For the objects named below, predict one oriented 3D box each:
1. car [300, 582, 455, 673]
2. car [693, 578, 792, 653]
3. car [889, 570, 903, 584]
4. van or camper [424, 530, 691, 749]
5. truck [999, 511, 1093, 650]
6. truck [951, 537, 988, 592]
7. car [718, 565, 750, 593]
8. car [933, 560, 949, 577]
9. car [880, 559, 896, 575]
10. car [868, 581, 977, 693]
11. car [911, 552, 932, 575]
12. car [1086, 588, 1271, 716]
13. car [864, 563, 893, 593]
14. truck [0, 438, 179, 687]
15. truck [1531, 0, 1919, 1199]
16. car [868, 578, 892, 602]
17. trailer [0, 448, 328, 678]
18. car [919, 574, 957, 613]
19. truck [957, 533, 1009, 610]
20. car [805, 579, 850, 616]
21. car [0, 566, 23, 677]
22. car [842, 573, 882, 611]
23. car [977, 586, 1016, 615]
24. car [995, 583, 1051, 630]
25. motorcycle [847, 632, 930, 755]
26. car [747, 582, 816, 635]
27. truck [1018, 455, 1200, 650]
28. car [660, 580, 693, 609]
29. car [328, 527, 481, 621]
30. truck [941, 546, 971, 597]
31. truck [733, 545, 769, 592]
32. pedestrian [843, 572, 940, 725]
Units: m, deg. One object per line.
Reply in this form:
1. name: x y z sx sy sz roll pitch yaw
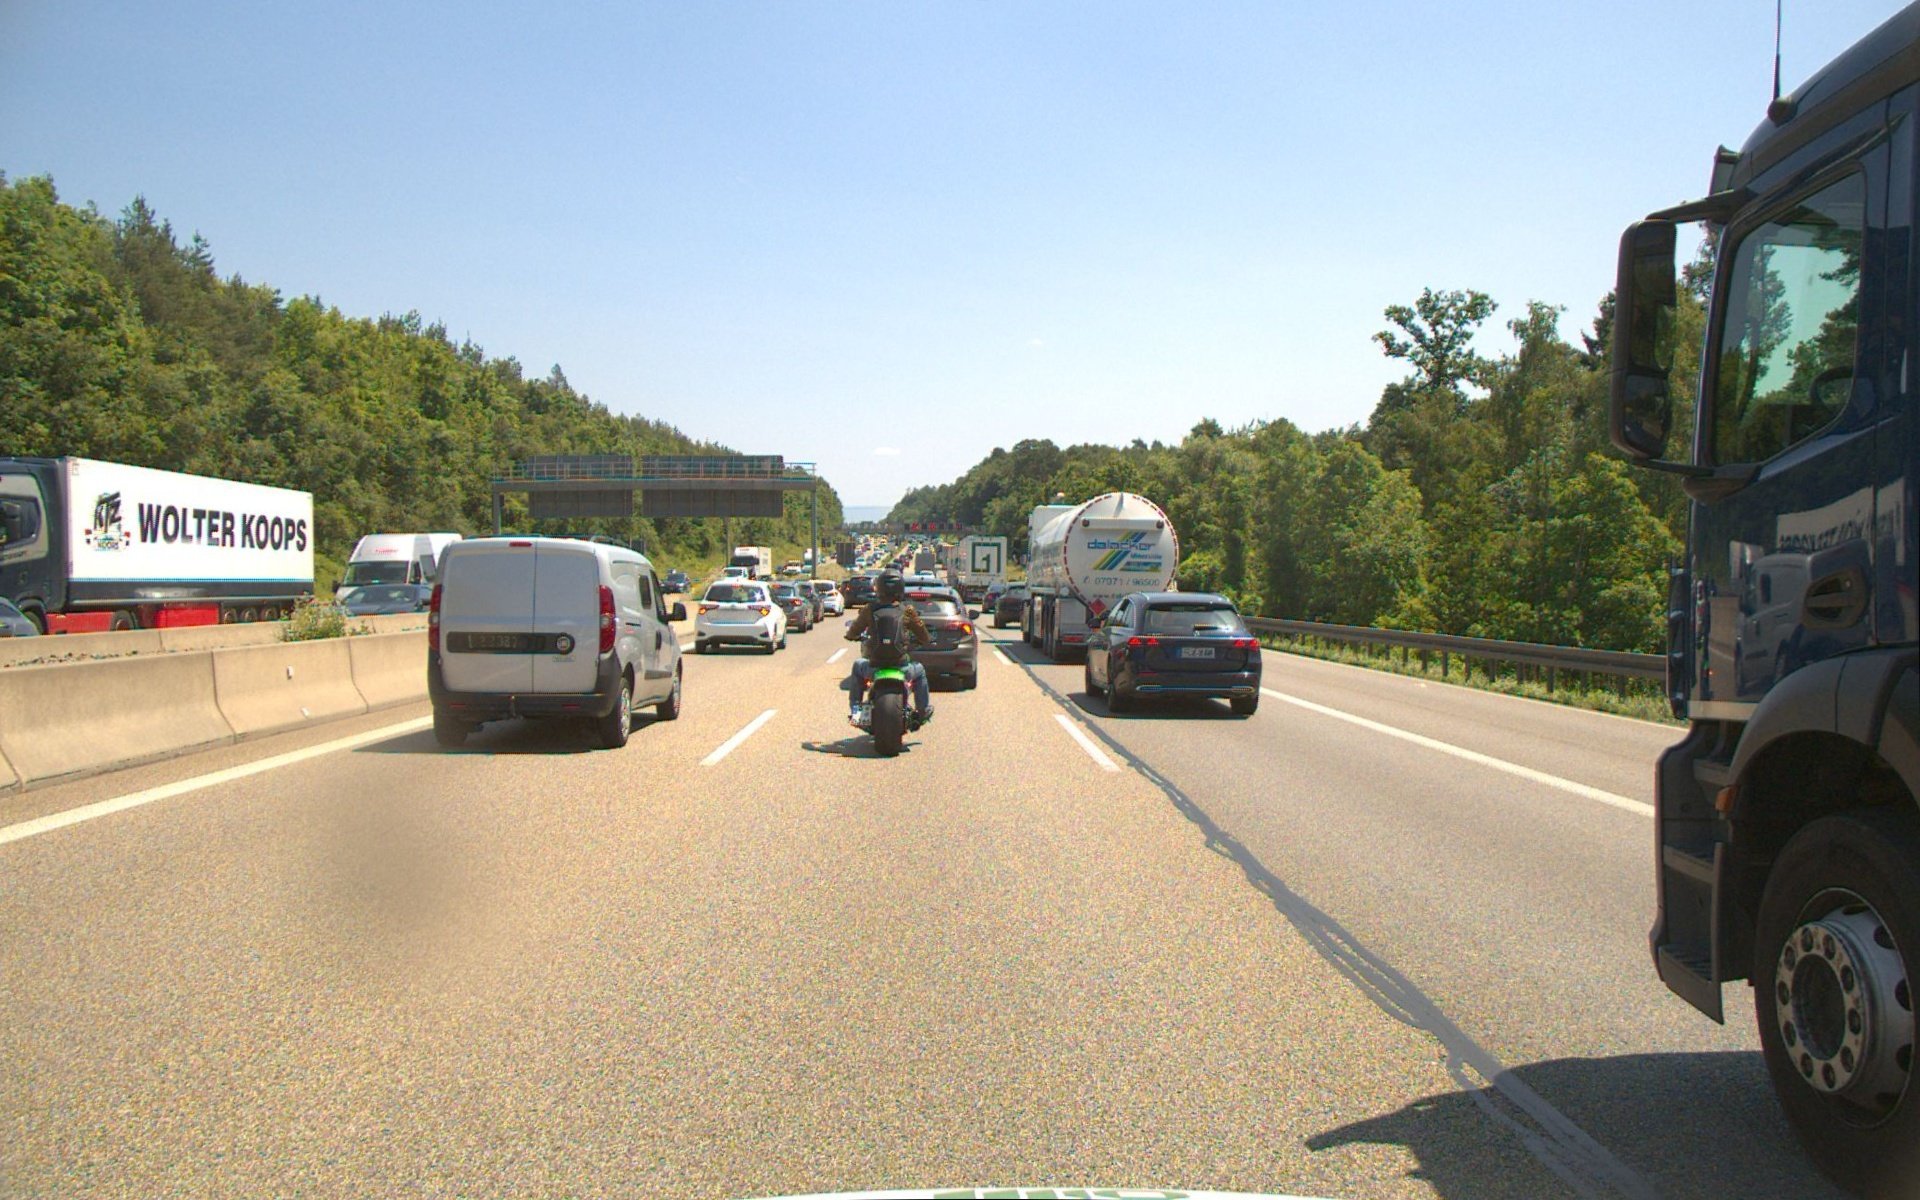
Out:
1. car: -11.528 0.535 32.986 1.653 1.635 4.125 -2 0 -1
2. car: -4.611 0.292 35.575 1.665 1.504 3.999 0 0 -1
3. car: -9.280 -3.328 239.436 1.953 2.049 3.999 0 0 -1
4. van or camper: -3.882 0.360 16.654 1.759 1.925 4.158 0 0 -2
5. truck: 2.337 -0.498 46.170 1.954 3.584 4.747 -2 -1 -4
6. truck: 0.784 -3.052 144.999 2.972 4.622 9.980 1 0 -1
7. car: -17.554 -1.619 128.766 1.842 2.048 4.467 -3 0 -1
8. car: -2.526 -4.062 216.818 1.953 2.049 3.999 -2 0 -1
9. car: -9.404 -4.332 216.941 1.953 2.049 3.999 0 0 -1
10. car: -0.597 0.524 25.586 1.502 1.536 3.998 -2 0 -2
11. car: -4.542 -4.305 197.051 2.453 2.632 5.015 0 0 -1
12. car: 2.727 0.595 21.494 1.791 1.496 3.999 0 0 -1
13. car: -5.973 -1.638 121.897 1.890 2.049 3.999 -2 0 -1
14. truck: -19.582 -0.595 33.935 3.650 4.607 7.323 -2 0 -2
15. truck: 3.535 -0.541 1.031 2.634 3.943 9.777 -3 0 -1
16. car: -7.206 -0.887 148.623 1.953 2.049 3.999 -2 0 -1
17. trailer: -19.730 -0.668 40.288 3.649 4.607 13.327 -2 0 -1
18. car: -1.213 -0.329 90.891 1.953 2.049 3.999 -2 0 -1
19. truck: 1.396 -1.771 105.729 2.972 4.622 9.980 1 0 -1
20. car: -5.515 -0.118 69.174 1.665 1.504 3.999 0 0 -1
21. car: -14.942 0.337 22.666 1.653 1.635 4.513 -2 0 -1
22. car: -4.997 -0.400 84.634 1.842 1.892 3.999 0 0 -1
23. car: 1.771 0.014 81.566 1.751 1.398 3.802 0 0 -1
24. car: 2.208 0.197 58.415 1.751 1.583 3.802 0 0 -1
25. motorcycle: -0.648 0.841 15.590 0.677 1.033 2.121 0 0 0
26. car: -5.191 0.221 48.421 1.665 1.504 3.999 0 0 -1
27. truck: 3.097 -0.900 37.197 2.927 3.735 9.285 -2 0 -1
28. car: -21.002 -0.381 122.570 1.790 2.049 3.878 -2 0 -1
29. car: -15.536 -0.712 46.758 1.953 2.418 7.363 0 0 -1
30. truck: -0.496 -3.022 176.873 2.972 5.229 9.980 1 0 -1
31. truck: -21.865 -3.263 173.488 2.709 4.823 10.469 0 0 -1
32. pedestrian: -0.634 0.444 15.727 0.832 1.385 0.961 -2 0 0
